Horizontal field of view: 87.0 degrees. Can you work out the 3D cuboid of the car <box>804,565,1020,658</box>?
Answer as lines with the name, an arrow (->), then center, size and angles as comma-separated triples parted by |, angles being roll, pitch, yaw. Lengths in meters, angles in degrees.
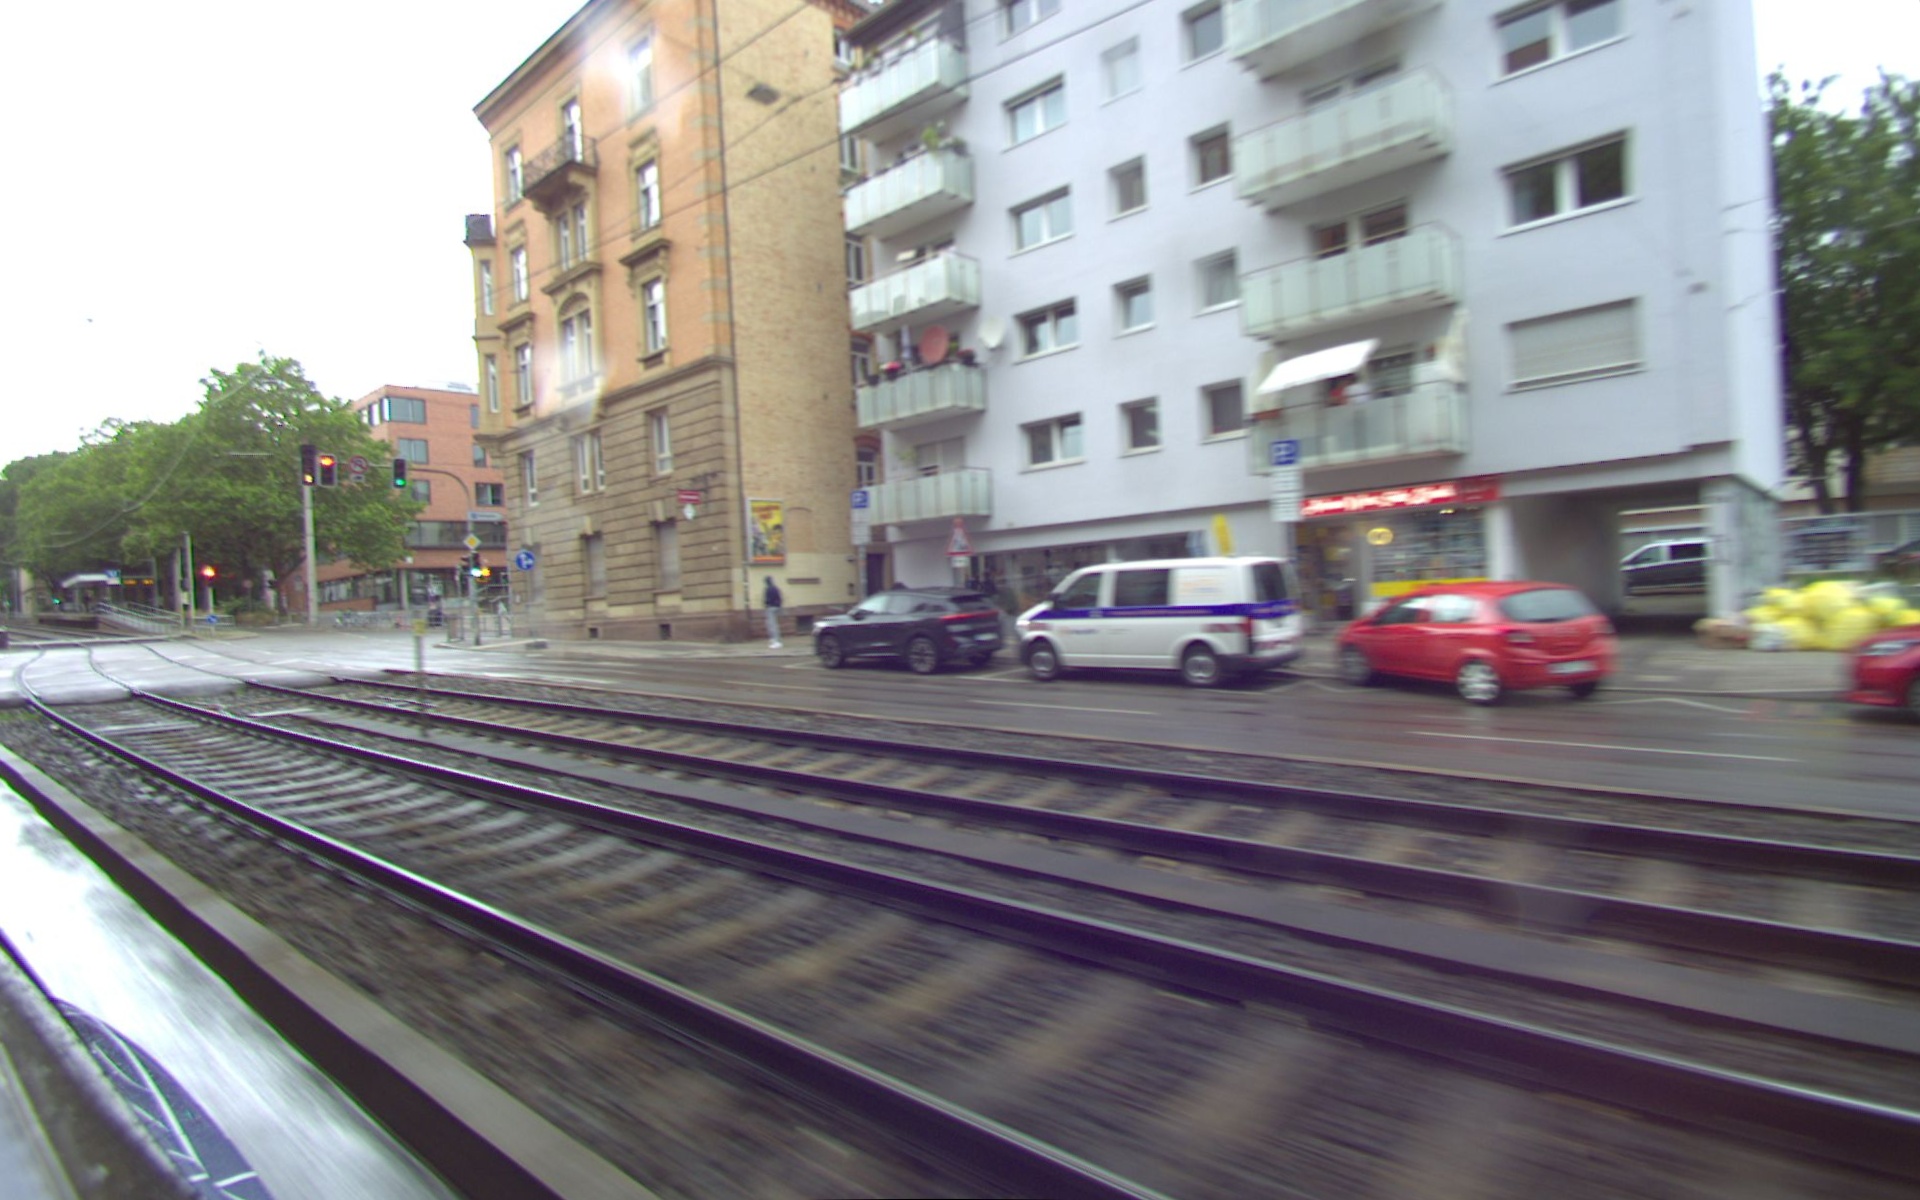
car -> -1.057, 0.209, 20.303 | 4.362, 1.663, 1.715 | -1, 1, 42

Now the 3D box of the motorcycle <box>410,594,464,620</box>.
motorcycle -> -29.380, 0.394, 56.895 | 0.864, 1.381, 2.627 | 0, 1, 36

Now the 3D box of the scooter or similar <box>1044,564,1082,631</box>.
scooter or similar -> 2.442, -0.059, 23.823 | 0.315, 1.212, 1.088 | -1, 25, 30

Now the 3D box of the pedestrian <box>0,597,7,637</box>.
pedestrian -> -44.351, 0.791, 46.414 | 1.001, 1.812, 0.817 | -1, 1, 40

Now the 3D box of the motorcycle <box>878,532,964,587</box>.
motorcycle -> -1.063, -1.058, 27.107 | 2.309, 1.386, 0.919 | -1, 0, 42

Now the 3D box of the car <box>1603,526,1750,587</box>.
car -> 25.008, -1.477, 35.401 | 4.045, 1.877, 1.698 | -2, 1, 40

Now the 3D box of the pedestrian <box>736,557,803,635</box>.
pedestrian -> -4.903, -0.097, 26.058 | 1.175, 1.943, 1.162 | -1, 1, 35

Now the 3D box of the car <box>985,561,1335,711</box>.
car -> 3.133, 0.515, 16.713 | 5.301, 2.024, 2.048 | -1, 3, 42

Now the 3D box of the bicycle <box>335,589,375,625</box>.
bicycle -> -35.286, 0.411, 59.065 | 0.517, 2.028, 1.874 | -1, 2, 36

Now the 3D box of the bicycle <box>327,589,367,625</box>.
bicycle -> -36.102, 0.418, 59.639 | 0.517, 2.028, 1.874 | -1, 2, 36

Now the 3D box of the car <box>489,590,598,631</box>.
car -> -16.999, 0.401, 41.417 | 1.774, 1.550, 3.753 | 0, 1, 35

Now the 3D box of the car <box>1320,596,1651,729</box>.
car -> 6.847, 0.711, 13.736 | 1.756, 1.444, 3.993 | -2, 1, -14

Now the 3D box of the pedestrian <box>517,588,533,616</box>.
pedestrian -> -28.434, 0.128, 66.161 | 0.780, 1.757, 1.072 | -1, 4, -14

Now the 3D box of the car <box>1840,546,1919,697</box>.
car -> 10.924, 0.186, 9.450 | 4.073, 1.462, 1.636 | 0, 1, 42

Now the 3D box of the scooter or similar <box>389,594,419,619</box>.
scooter or similar -> -31.450, 0.374, 57.283 | 0.450, 1.381, 1.494 | -1, 1, 25

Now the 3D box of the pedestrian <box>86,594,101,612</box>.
pedestrian -> -70.832, 0.237, 82.695 | 0.883, 1.494, 0.772 | -1, 1, 39

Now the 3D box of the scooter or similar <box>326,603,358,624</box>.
scooter or similar -> -37.043, 0.809, 60.675 | 0.475, 1.203, 1.706 | -1, 1, 21

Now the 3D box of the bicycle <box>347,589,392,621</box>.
bicycle -> -33.692, 0.278, 57.777 | 0.556, 1.710, 2.072 | 1, 5, 36

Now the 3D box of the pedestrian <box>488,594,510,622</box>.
pedestrian -> -29.028, 0.489, 63.721 | 1.008, 1.743, 0.887 | -1, 1, 41
